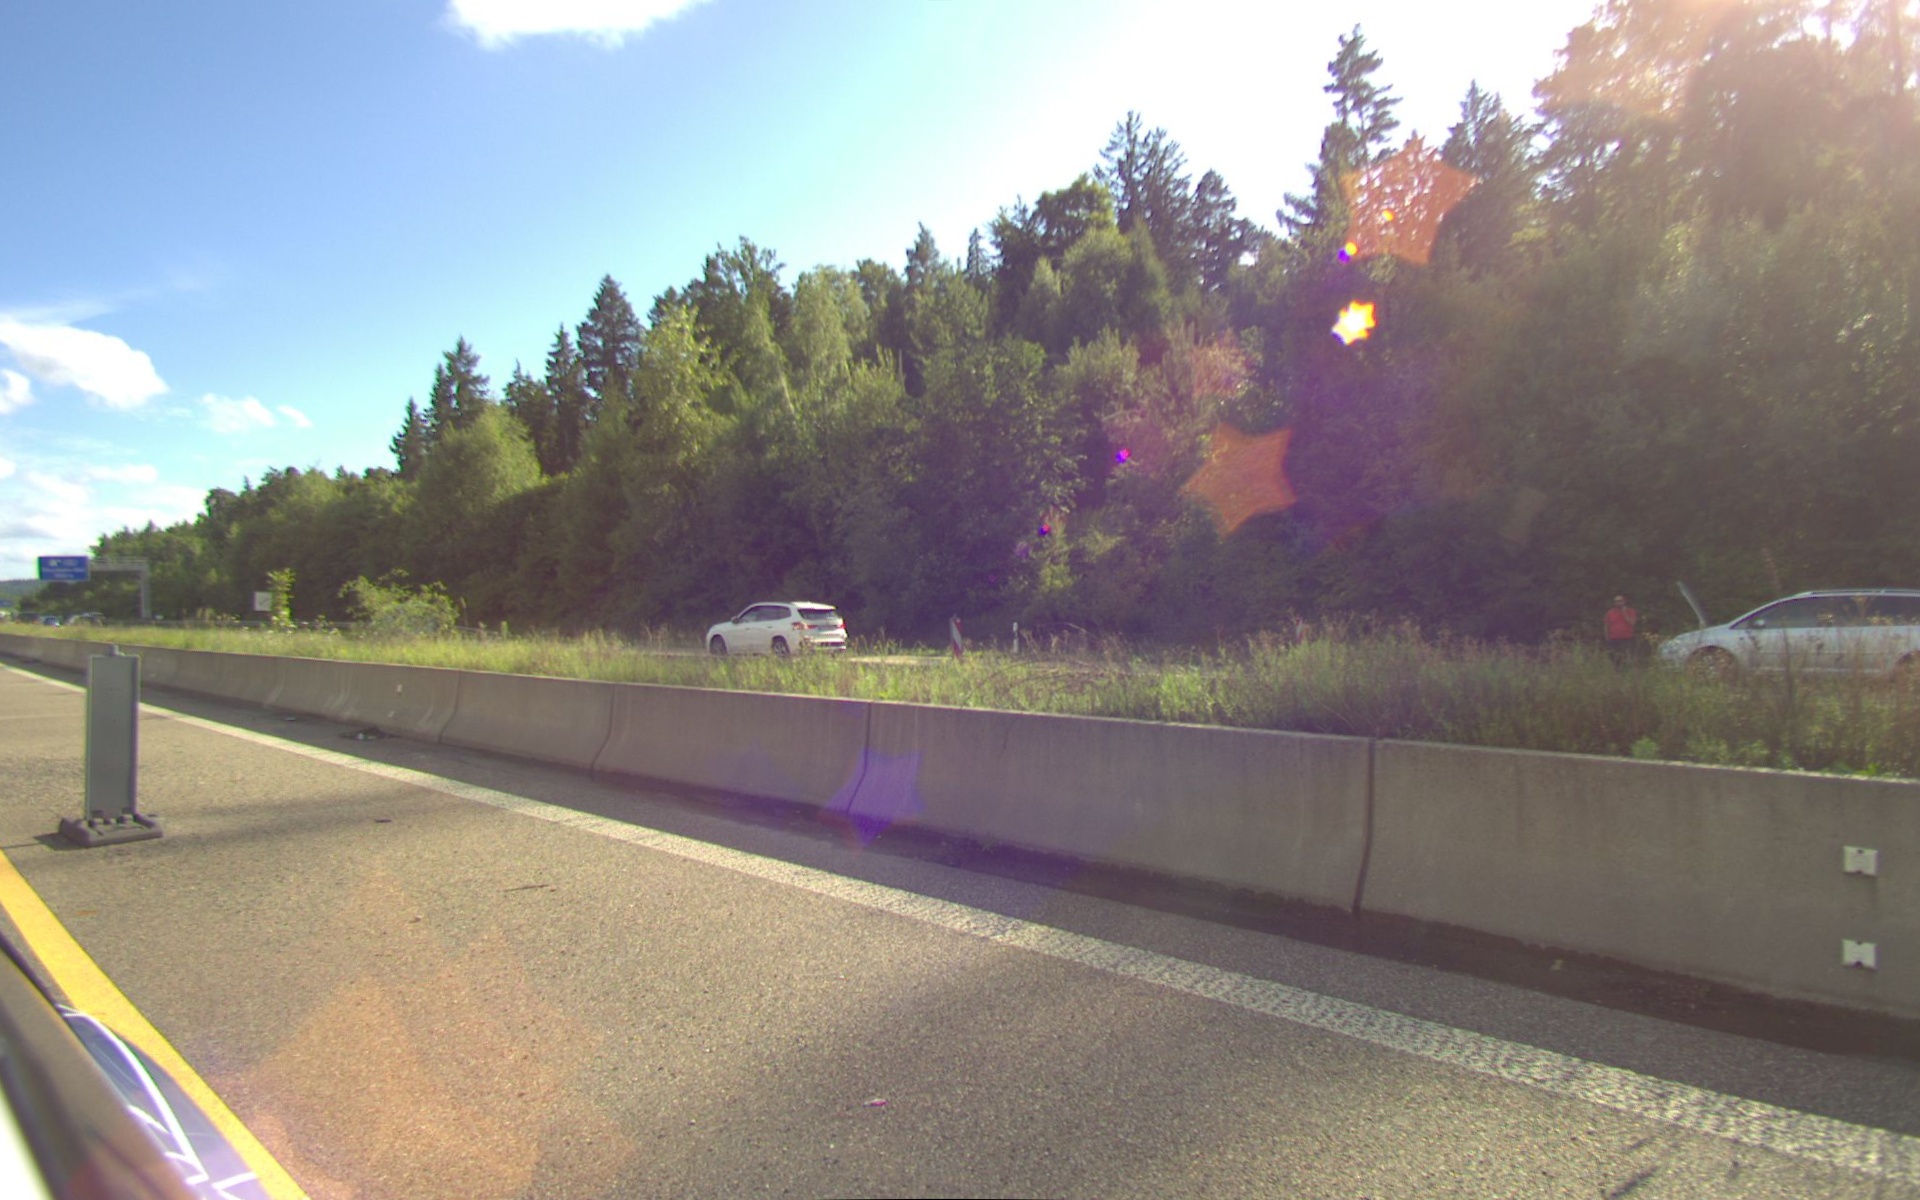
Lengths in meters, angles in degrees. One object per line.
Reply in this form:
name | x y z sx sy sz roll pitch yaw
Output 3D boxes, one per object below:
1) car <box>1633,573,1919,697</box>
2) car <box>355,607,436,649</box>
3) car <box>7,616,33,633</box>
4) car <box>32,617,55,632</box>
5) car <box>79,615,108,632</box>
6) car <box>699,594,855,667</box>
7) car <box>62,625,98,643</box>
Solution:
car | 14.107 0.531 16.741 4.759 1.867 1.841 -1 0 41
car | -25.117 1.213 44.977 4.363 1.799 1.759 -1 0 41
car | -109.584 2.846 117.965 4.615 1.917 1.759 -1 0 41
car | -123.035 3.322 135.824 4.615 1.917 1.759 -1 0 41
car | -93.875 2.525 109.638 4.615 1.701 1.759 -1 0 41
car | -4.931 0.773 26.962 4.363 1.799 1.759 -1 0 41
car | -74.372 2.856 85.533 4.102 1.467 1.759 -1 0 41
